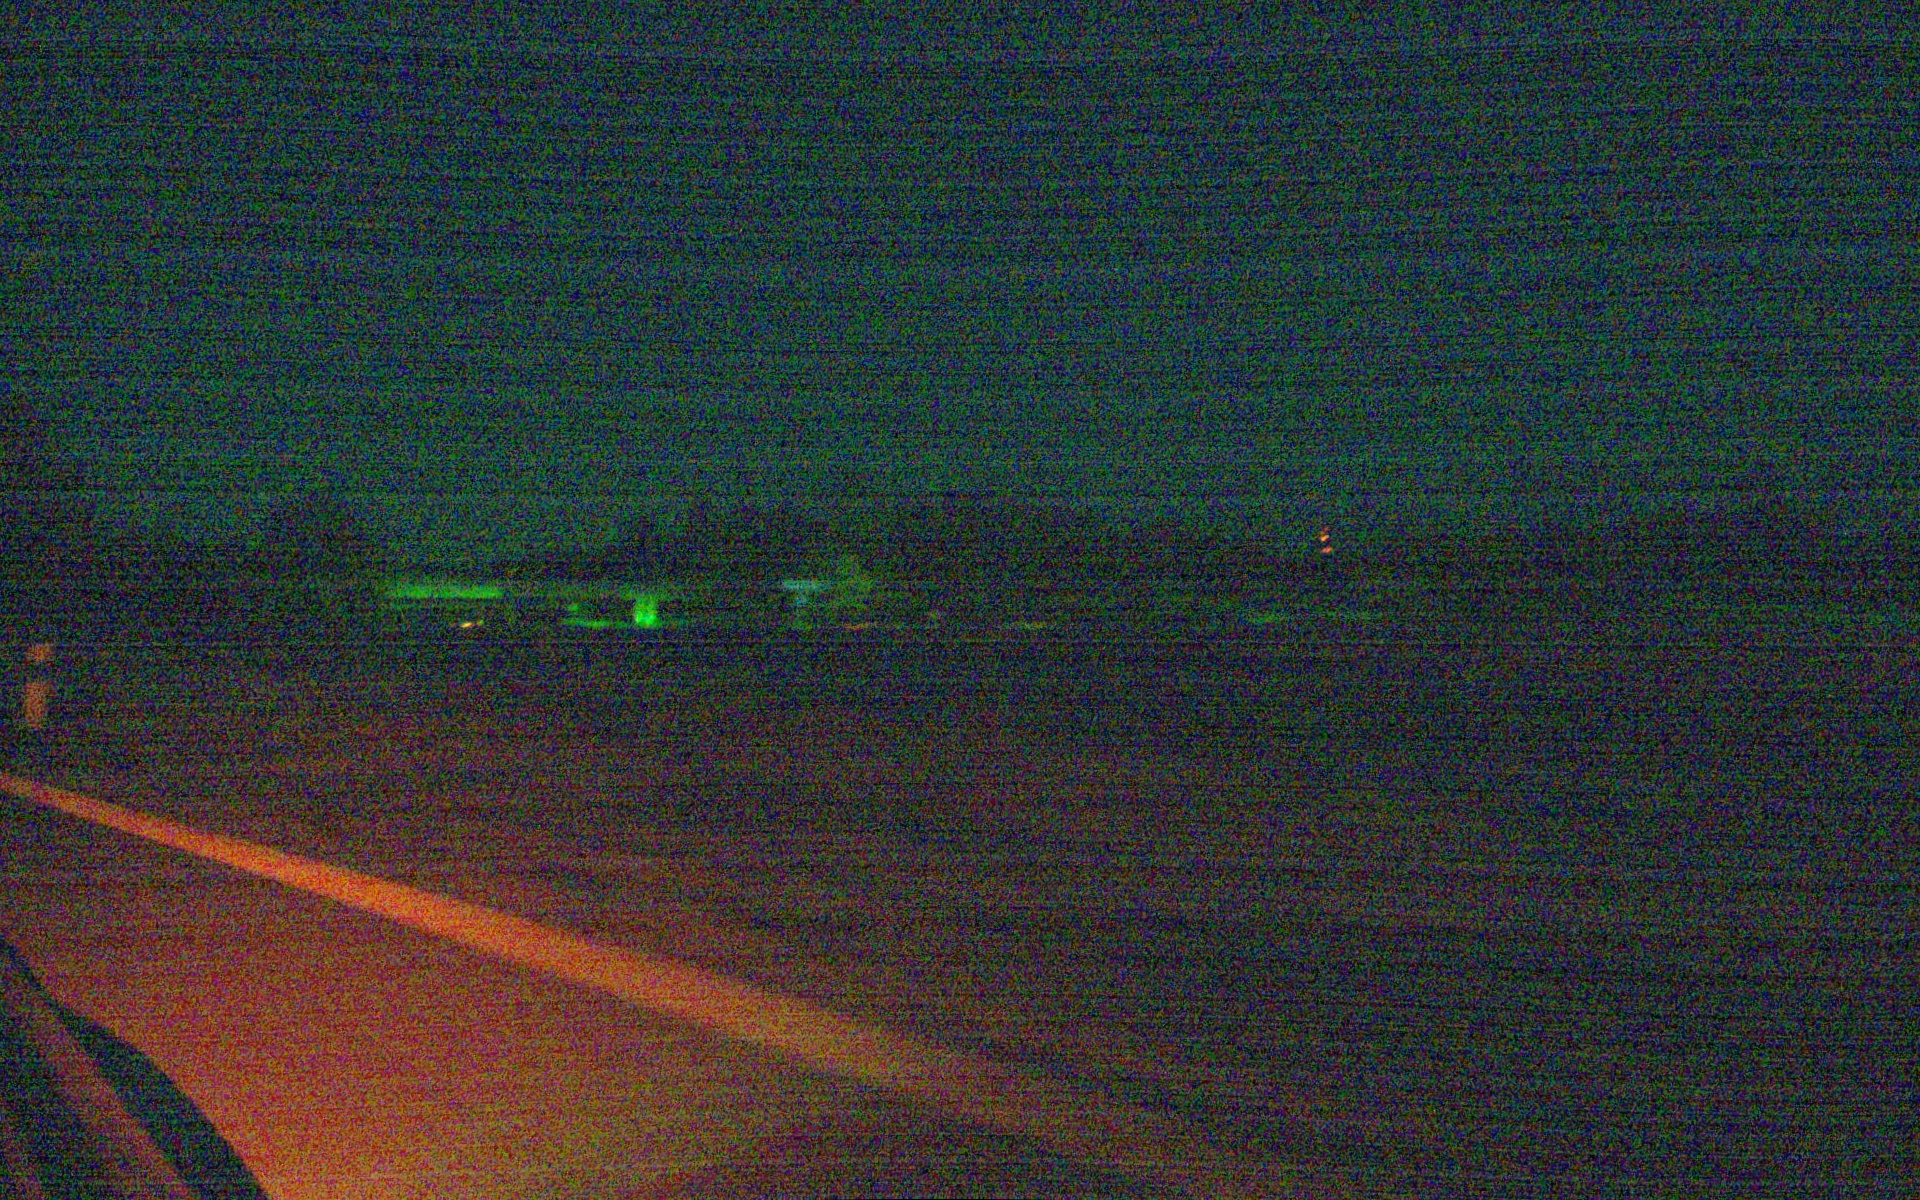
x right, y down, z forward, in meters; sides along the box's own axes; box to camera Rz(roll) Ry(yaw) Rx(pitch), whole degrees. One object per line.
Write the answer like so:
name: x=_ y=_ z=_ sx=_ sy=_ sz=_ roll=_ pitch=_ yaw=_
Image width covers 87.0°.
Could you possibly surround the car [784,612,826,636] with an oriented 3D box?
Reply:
car: x=-12.049 y=1.891 z=78.583 sx=1.758 sy=1.770 sz=4.012 roll=3 pitch=-3 yaw=-31
